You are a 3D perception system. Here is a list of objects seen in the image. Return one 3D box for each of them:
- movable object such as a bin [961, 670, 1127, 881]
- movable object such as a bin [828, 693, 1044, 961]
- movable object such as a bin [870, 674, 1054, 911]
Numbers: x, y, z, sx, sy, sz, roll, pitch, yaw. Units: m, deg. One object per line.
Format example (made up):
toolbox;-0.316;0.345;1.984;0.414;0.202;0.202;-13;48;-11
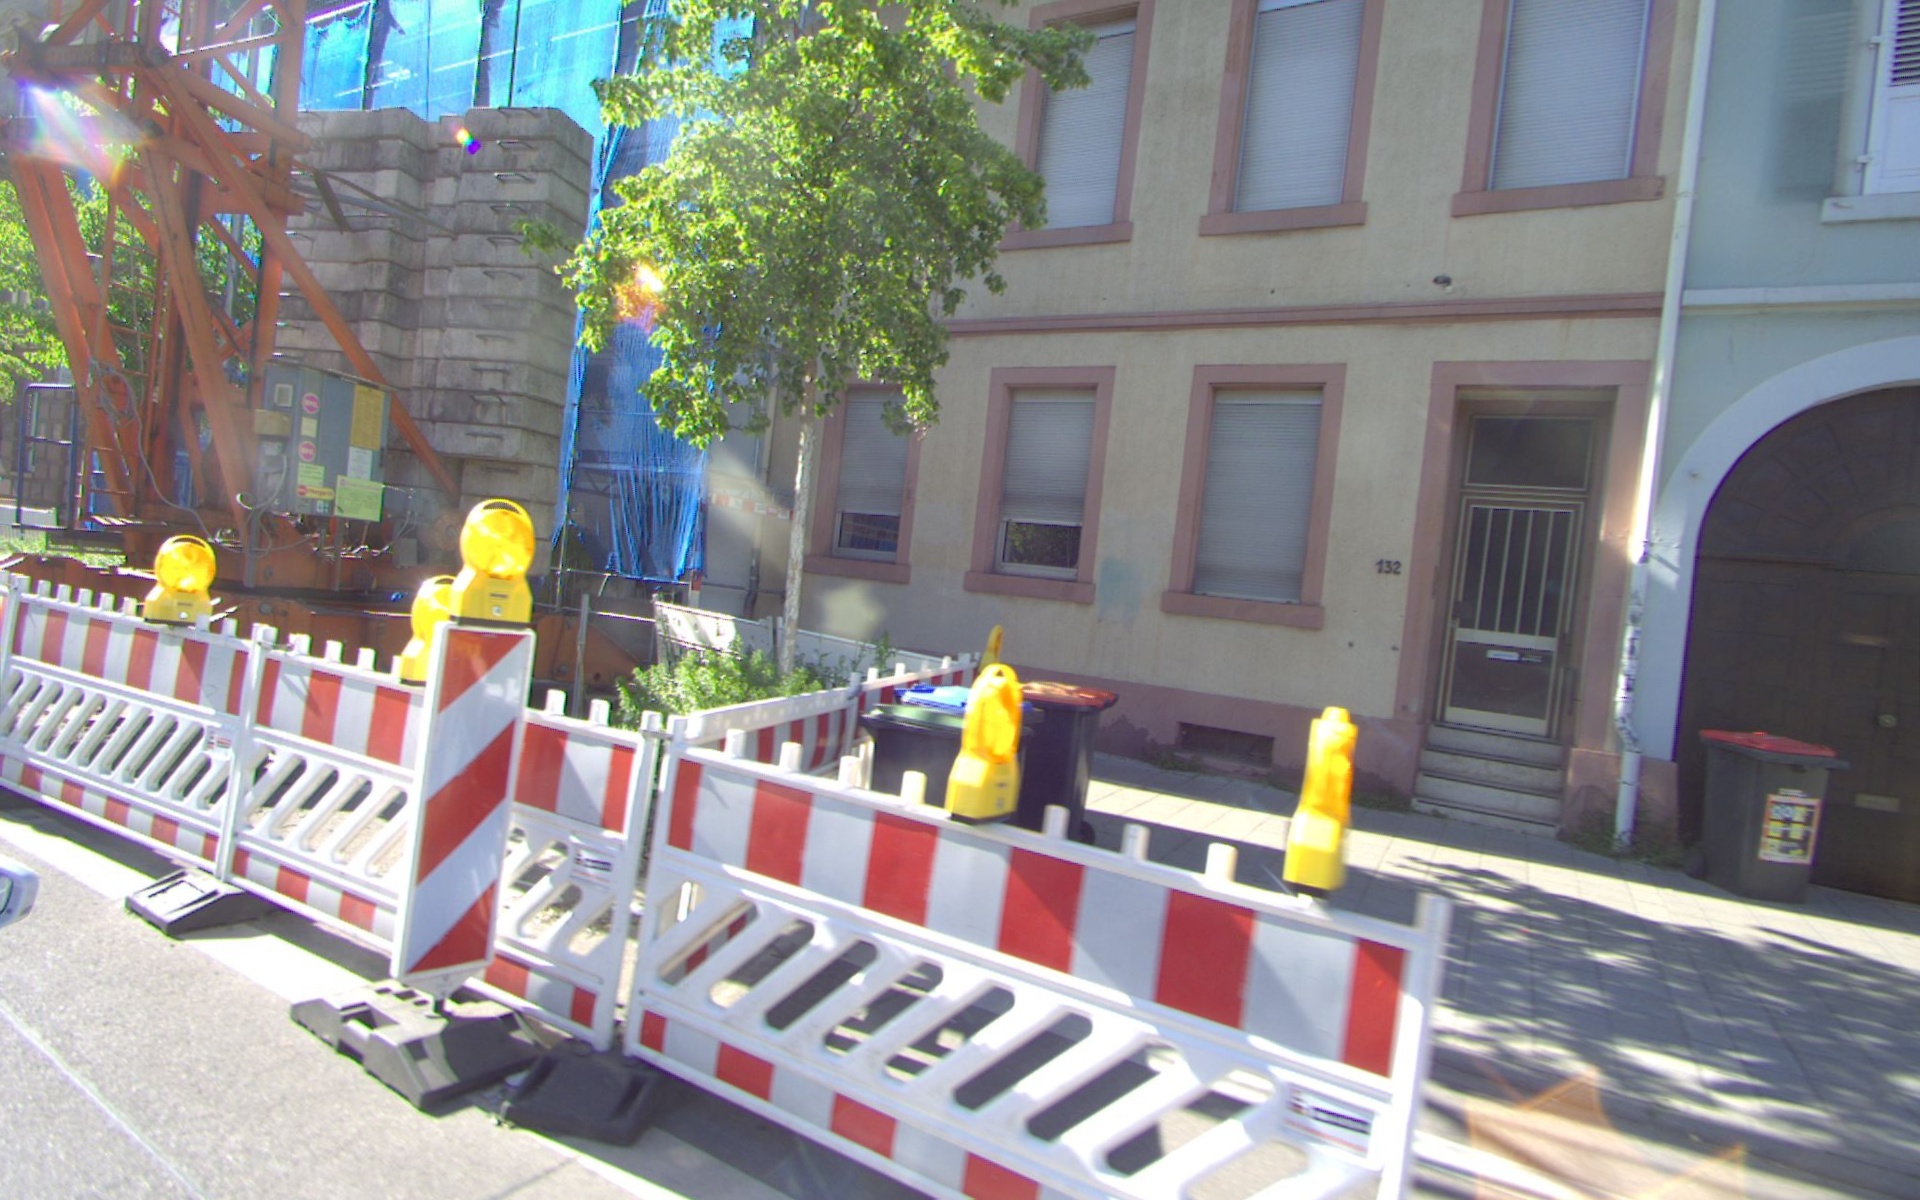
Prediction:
movable object such as a bin;0.519;1.037;6.176;0.769;1.073;0.588;7;6;25
movable object such as a bin;-0.107;1.032;4.829;0.718;1.071;0.589;7;0;30
movable object such as a bin;0.015;1.004;5.488;0.718;1.073;0.595;7;5;30
